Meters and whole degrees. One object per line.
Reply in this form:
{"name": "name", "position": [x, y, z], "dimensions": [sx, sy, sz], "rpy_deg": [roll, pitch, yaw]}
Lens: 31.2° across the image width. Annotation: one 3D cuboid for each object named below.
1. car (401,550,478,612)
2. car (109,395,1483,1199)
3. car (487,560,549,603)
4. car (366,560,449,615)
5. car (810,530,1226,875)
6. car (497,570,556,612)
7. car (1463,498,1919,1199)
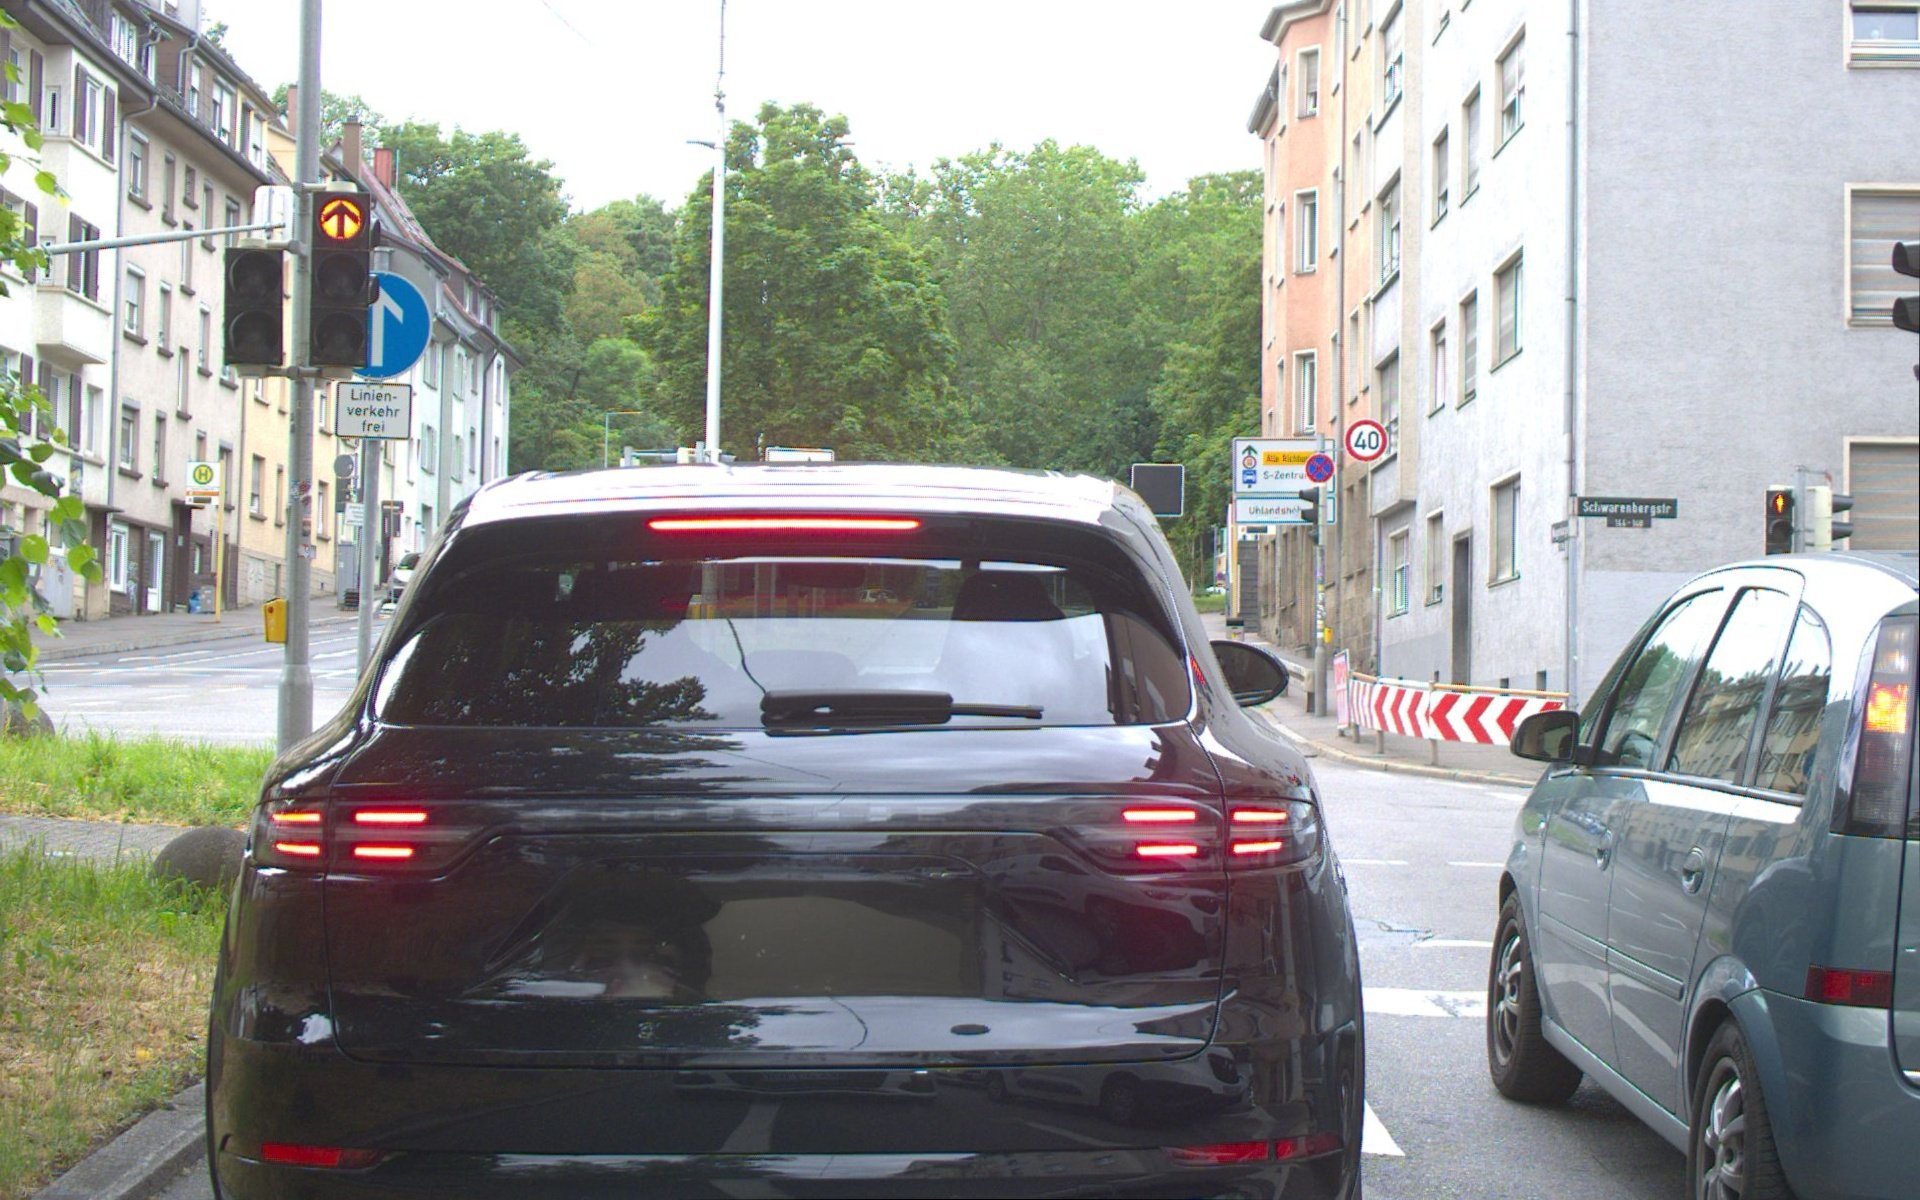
{"name": "car", "position": [-15.691, -0.596, 103.785], "dimensions": [1.794, 1.804, 4.000], "rpy_deg": [1, 1, -1]}
{"name": "car", "position": [-0.215, 0.494, 6.993], "dimensions": [1.994, 1.647, 4.000], "rpy_deg": [0, 1, 1]}
{"name": "car", "position": [-16.081, -0.693, 125.170], "dimensions": [1.794, 1.505, 4.000], "rpy_deg": [1, 1, -1]}
{"name": "car", "position": [-15.859, -0.374, 98.761], "dimensions": [1.794, 1.505, 4.000], "rpy_deg": [1, 1, -1]}
{"name": "car", "position": [0.306, 0.494, 18.527], "dimensions": [1.994, 1.647, 4.000], "rpy_deg": [0, 0, 1]}
{"name": "car", "position": [-16.379, -0.358, 130.070], "dimensions": [1.794, 1.505, 4.000], "rpy_deg": [1, 1, -1]}
{"name": "car", "position": [2.401, 0.660, 8.095], "dimensions": [1.752, 1.588, 3.630], "rpy_deg": [4, 0, -1]}
